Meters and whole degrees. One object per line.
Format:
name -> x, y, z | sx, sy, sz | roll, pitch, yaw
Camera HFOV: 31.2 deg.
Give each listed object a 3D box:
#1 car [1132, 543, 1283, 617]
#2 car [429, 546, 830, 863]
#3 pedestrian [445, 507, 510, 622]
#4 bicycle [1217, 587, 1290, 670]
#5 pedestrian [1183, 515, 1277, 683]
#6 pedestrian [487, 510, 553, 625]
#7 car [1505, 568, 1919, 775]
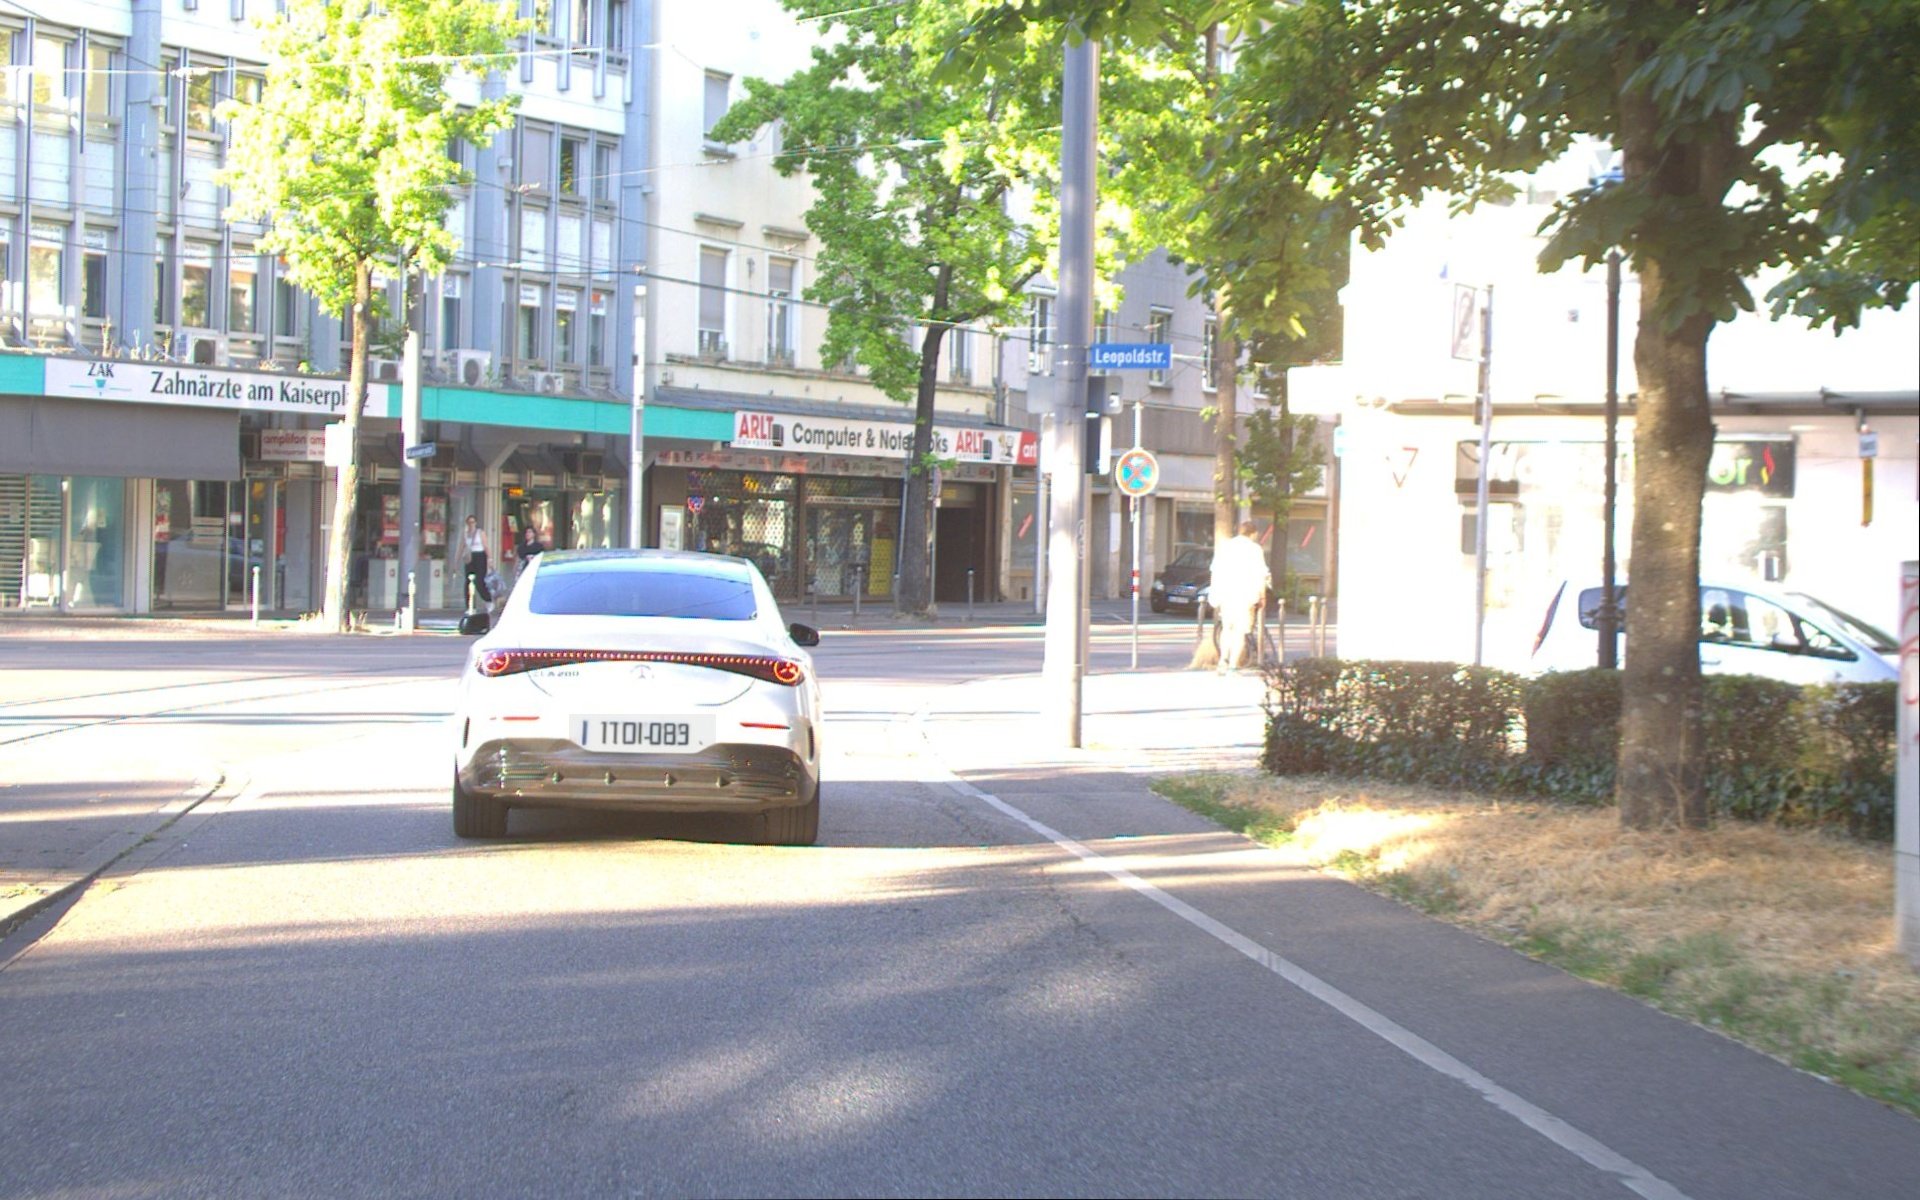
car -> 5.897, -0.461, 81.441 | 1.965, 1.634, 3.993 | 2, 1, 30
car -> -1.669, 0.465, 18.251 | 1.868, 1.464, 4.043 | 1, 1, -3
pedestrian -> -8.602, -0.631, 61.291 | 0.798, 2.007, 0.733 | 2, 0, 30
bicycle -> 3.927, 0.387, 45.911 | 0.354, 1.073, 1.696 | 2, 0, 26
pedestrian -> 3.307, -0.009, 42.114 | 0.842, 2.007, 0.845 | 2, 0, 24
pedestrian -> -7.791, -0.573, 60.869 | 0.798, 2.007, 0.733 | 2, 0, 30
car -> 6.462, 0.549, 28.023 | 3.571, 1.508, 1.736 | 2, 1, 28
